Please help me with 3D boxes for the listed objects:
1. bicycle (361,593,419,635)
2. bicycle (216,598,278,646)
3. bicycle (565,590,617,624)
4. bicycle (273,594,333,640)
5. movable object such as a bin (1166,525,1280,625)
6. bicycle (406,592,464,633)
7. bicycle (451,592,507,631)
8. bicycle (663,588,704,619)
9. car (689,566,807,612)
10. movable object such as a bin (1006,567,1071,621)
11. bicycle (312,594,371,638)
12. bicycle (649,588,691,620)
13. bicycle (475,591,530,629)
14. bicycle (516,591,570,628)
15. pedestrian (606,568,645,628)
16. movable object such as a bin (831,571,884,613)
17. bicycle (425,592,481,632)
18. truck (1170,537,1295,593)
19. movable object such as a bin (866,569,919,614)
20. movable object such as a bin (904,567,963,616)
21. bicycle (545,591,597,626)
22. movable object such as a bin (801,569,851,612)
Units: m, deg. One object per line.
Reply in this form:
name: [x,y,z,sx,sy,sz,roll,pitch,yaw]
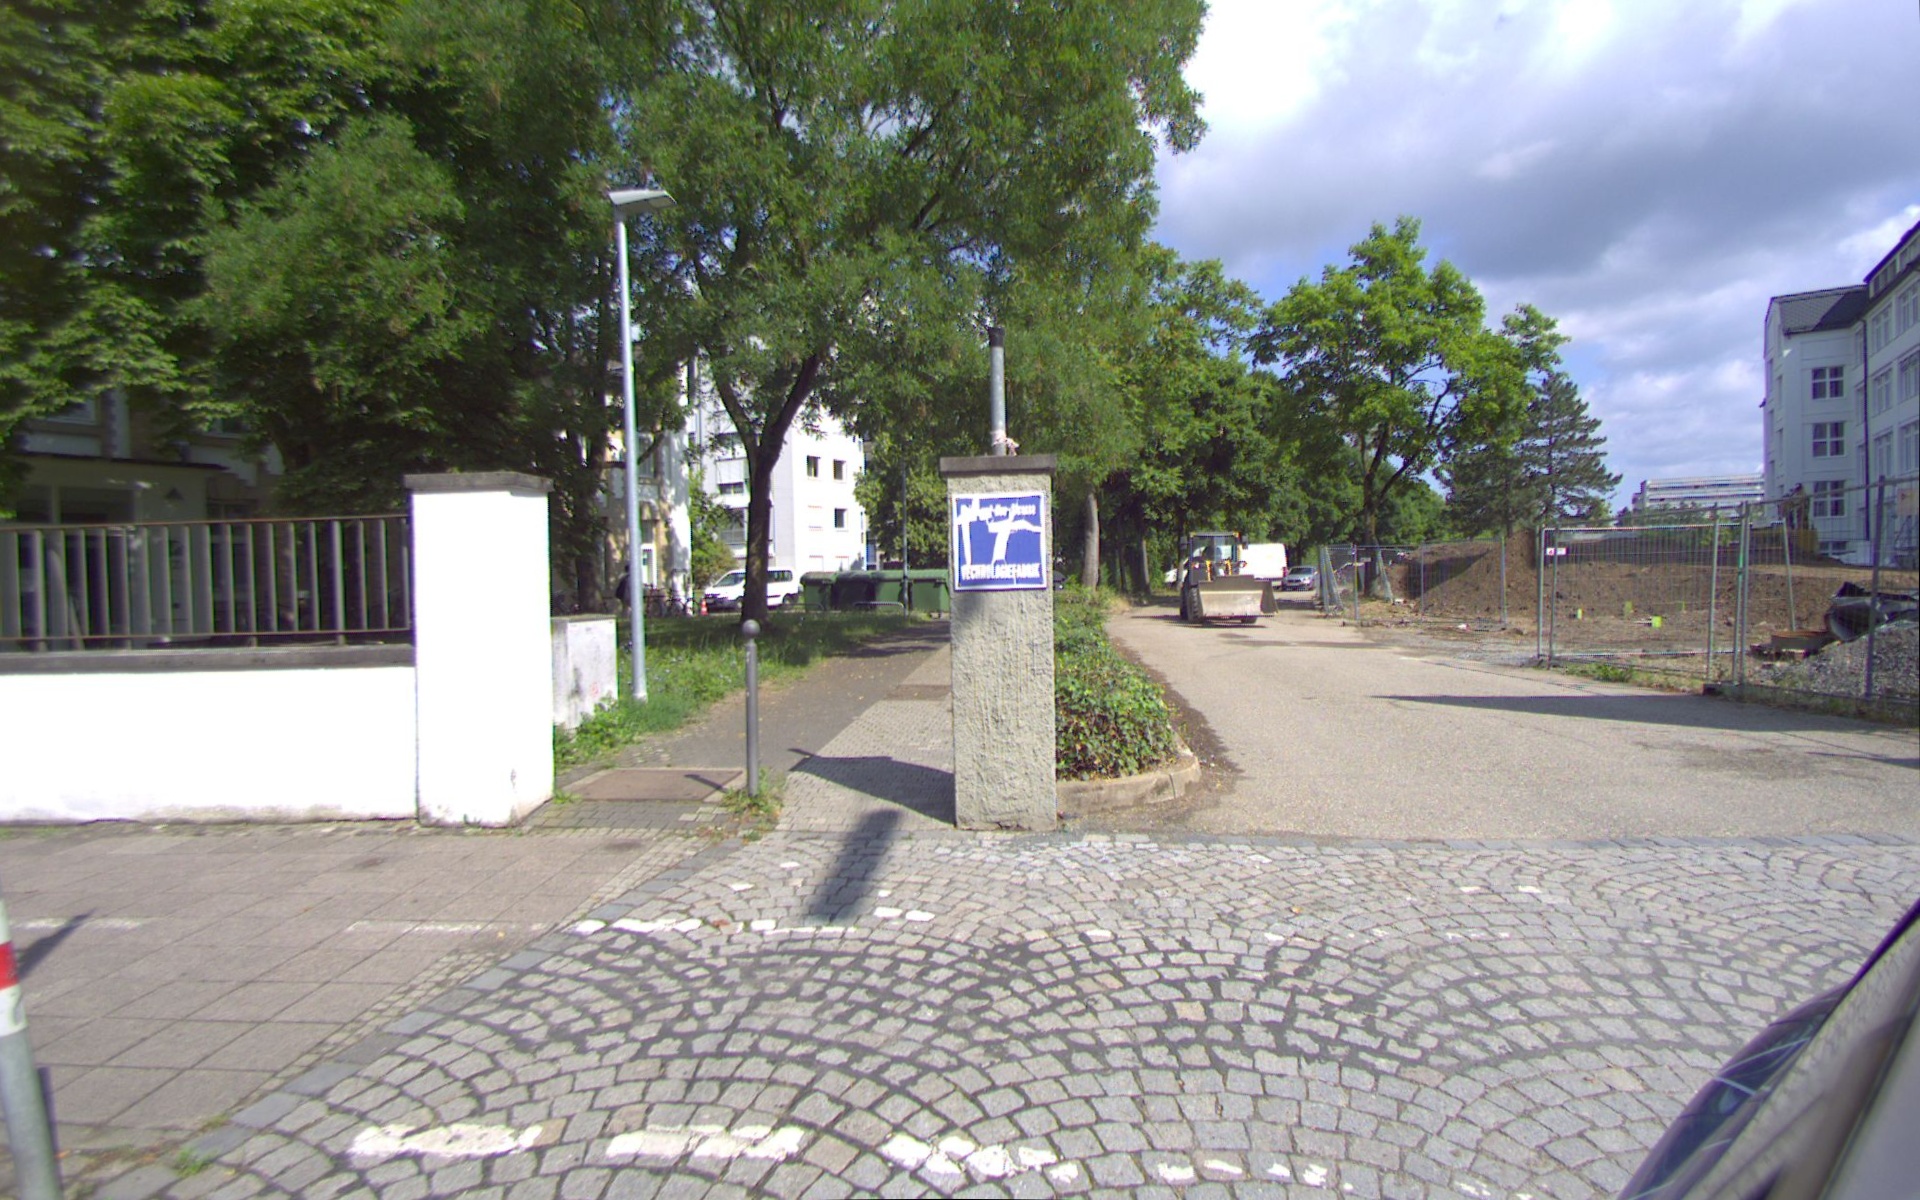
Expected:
bicycle: [-13.899,0.326,24.658,1.806,1.000,0.422,0,0,32]
bicycle: [-15.484,0.468,21.971,1.806,1.000,0.422,0,0,32]
bicycle: [-10.893,0.198,29.830,1.806,1.000,0.422,0,0,32]
bicycle: [-15.003,0.374,23.089,1.806,1.000,0.422,0,0,32]
movable object such as a bin: [7.041,-0.745,27.668,1.964,2.473,5.430,0,3,4]
bicycle: [-13.249,0.308,25.530,1.806,1.000,0.422,0,0,32]
bicycle: [-12.669,0.285,26.665,1.806,1.000,0.422,0,0,32]
bicycle: [-8.957,0.100,32.734,1.446,1.000,0.422,0,0,32]
car: [-9.223,-0.523,44.472,2.027,1.885,5.028,0,2,36]
movable object such as a bin: [2.104,-0.182,27.105,1.110,1.373,1.322,-3,2,-39]
bicycle: [-14.505,0.360,23.717,1.806,1.000,0.422,0,0,32]
bicycle: [-9.224,0.114,32.178,1.447,1.000,0.422,0,0,33]
bicycle: [-12.370,0.269,27.337,1.806,1.000,0.422,0,0,32]
bicycle: [-11.669,0.250,28.325,1.806,1.000,0.422,0,0,32]
pedestrian: [-9.392,-0.059,28.412,0.565,1.643,0.850,-1,1,28]
movable object such as a bin: [-3.131,-0.243,31.026,1.262,1.235,1.018,0,2,29]
bicycle: [-13.051,0.305,26.033,1.806,1.000,0.422,0,0,32]
truck: [14.907,-1.935,55.515,6.471,2.810,1.990,-1,4,19]
movable object such as a bin: [-2.019,-0.262,30.226,1.245,1.281,0.990,0,2,29]
movable object such as a bin: [-0.767,-0.255,29.555,1.354,1.369,1.083,0,2,29]
bicycle: [-11.231,0.234,29.199,1.806,1.000,0.422,0,0,32]
movable object such as a bin: [-4.215,-0.293,31.781,1.180,1.309,0.993,0,2,29]
